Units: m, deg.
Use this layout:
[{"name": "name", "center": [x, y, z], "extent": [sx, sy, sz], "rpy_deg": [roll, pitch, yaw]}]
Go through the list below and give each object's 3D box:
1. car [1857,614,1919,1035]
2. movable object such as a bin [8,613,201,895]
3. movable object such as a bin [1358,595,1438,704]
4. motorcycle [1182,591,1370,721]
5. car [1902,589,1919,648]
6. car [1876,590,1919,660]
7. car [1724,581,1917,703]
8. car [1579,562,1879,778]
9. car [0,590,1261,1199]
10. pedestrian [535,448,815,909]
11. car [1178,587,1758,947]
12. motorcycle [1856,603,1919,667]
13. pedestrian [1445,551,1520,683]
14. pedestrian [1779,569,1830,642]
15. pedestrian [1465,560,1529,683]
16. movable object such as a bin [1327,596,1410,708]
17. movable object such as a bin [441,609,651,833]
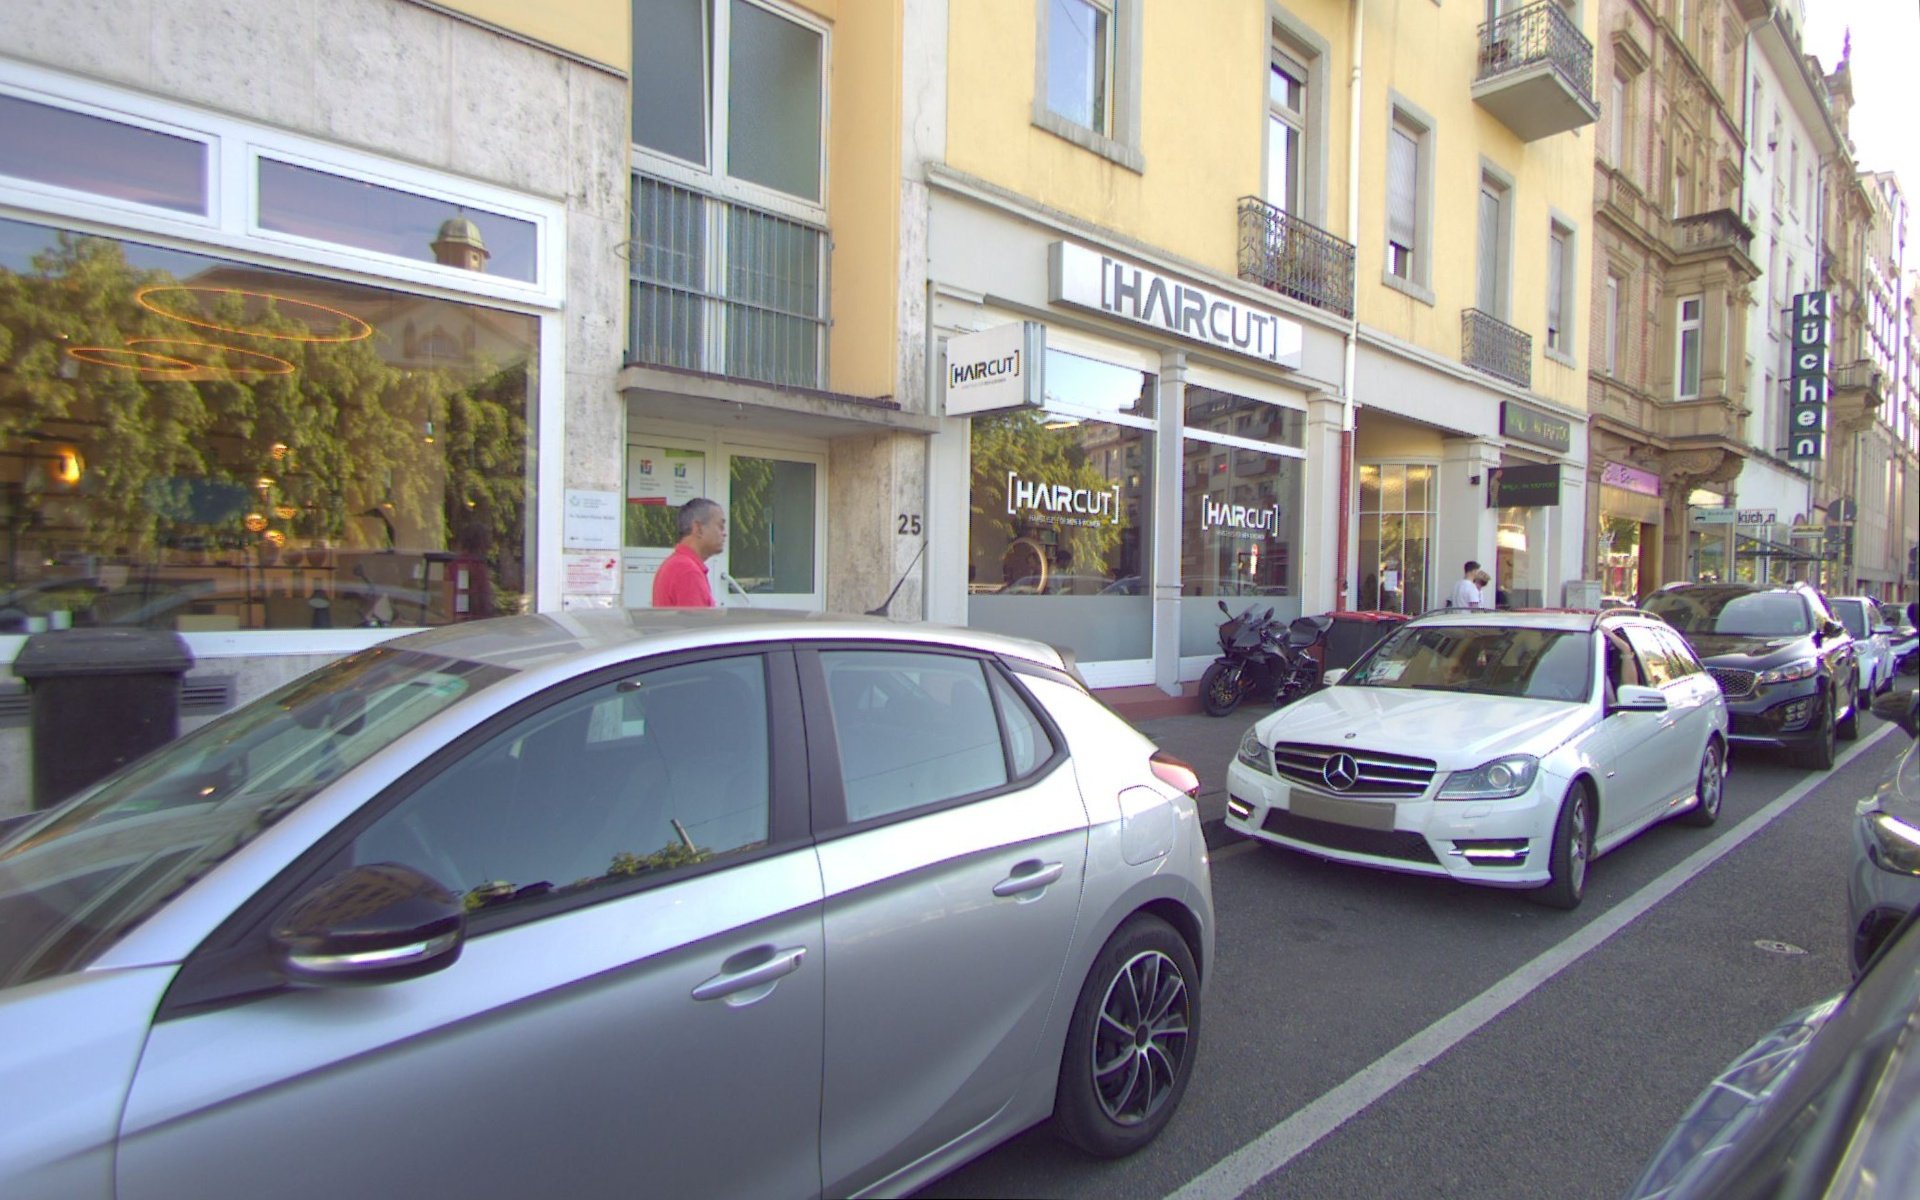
[{"name": "car", "center": [5.306, 0.775, 4.272], "extent": [4.183, 1.396, 1.846], "rpy_deg": [0, 1, -42]}, {"name": "movable object such as a bin", "center": [-3.673, 0.596, 4.370], "extent": [0.591, 1.041, 0.812], "rpy_deg": [0, 1, -40]}, {"name": "movable object such as a bin", "center": [5.151, 0.561, 11.898], "extent": [0.633, 1.222, 0.647], "rpy_deg": [0, 0, -40]}, {"name": "motorcycle", "center": [3.326, 0.519, 10.536], "extent": [2.208, 1.179, 0.773], "rpy_deg": [0, 4, -41]}, {"name": "car", "center": [26.405, 0.477, 26.870], "extent": [3.931, 1.504, 1.713], "rpy_deg": [0, 1, -42]}, {"name": "car", "center": [22.255, 0.541, 23.027], "extent": [3.931, 1.504, 1.713], "rpy_deg": [0, 1, -42]}, {"name": "car", "center": [12.655, 0.526, 14.848], "extent": [2.965, 1.587, 1.695], "rpy_deg": [0, 1, -40]}, {"name": "car", "center": [8.004, 0.530, 10.347], "extent": [1.853, 1.719, 4.623], "rpy_deg": [1, 1, 45]}, {"name": "car", "center": [-1.027, 0.697, 2.328], "extent": [3.642, 1.415, 1.652], "rpy_deg": [0, 1, -42]}, {"name": "pedestrian", "center": [-1.310, 0.286, 4.577], "extent": [0.989, 1.805, 0.868], "rpy_deg": [0, 3, -32]}, {"name": "car", "center": [3.448, 0.675, 6.380], "extent": [4.519, 1.480, 1.757], "rpy_deg": [0, 1, -42]}, {"name": "motorcycle", "center": [19.293, 0.704, 20.527], "extent": [1.514, 1.248, 0.771], "rpy_deg": [1, 0, 1]}, {"name": "pedestrian", "center": [6.711, 0.201, 13.006], "extent": [0.689, 1.637, 0.641], "rpy_deg": [0, 0, -42]}, {"name": "pedestrian", "center": [19.353, 0.121, 23.183], "extent": [0.750, 1.637, 0.794], "rpy_deg": [0, 1, -43]}, {"name": "pedestrian", "center": [7.391, 0.276, 13.921], "extent": [0.631, 1.637, 0.572], "rpy_deg": [0, 0, -40]}, {"name": "movable object such as a bin", "center": [4.641, 0.568, 11.509], "extent": [0.633, 1.222, 0.647], "rpy_deg": [0, 0, -40]}, {"name": "movable object such as a bin", "center": [-2.272, 0.602, 5.553], "extent": [0.878, 1.066, 0.752], "rpy_deg": [0, 1, -40]}]
